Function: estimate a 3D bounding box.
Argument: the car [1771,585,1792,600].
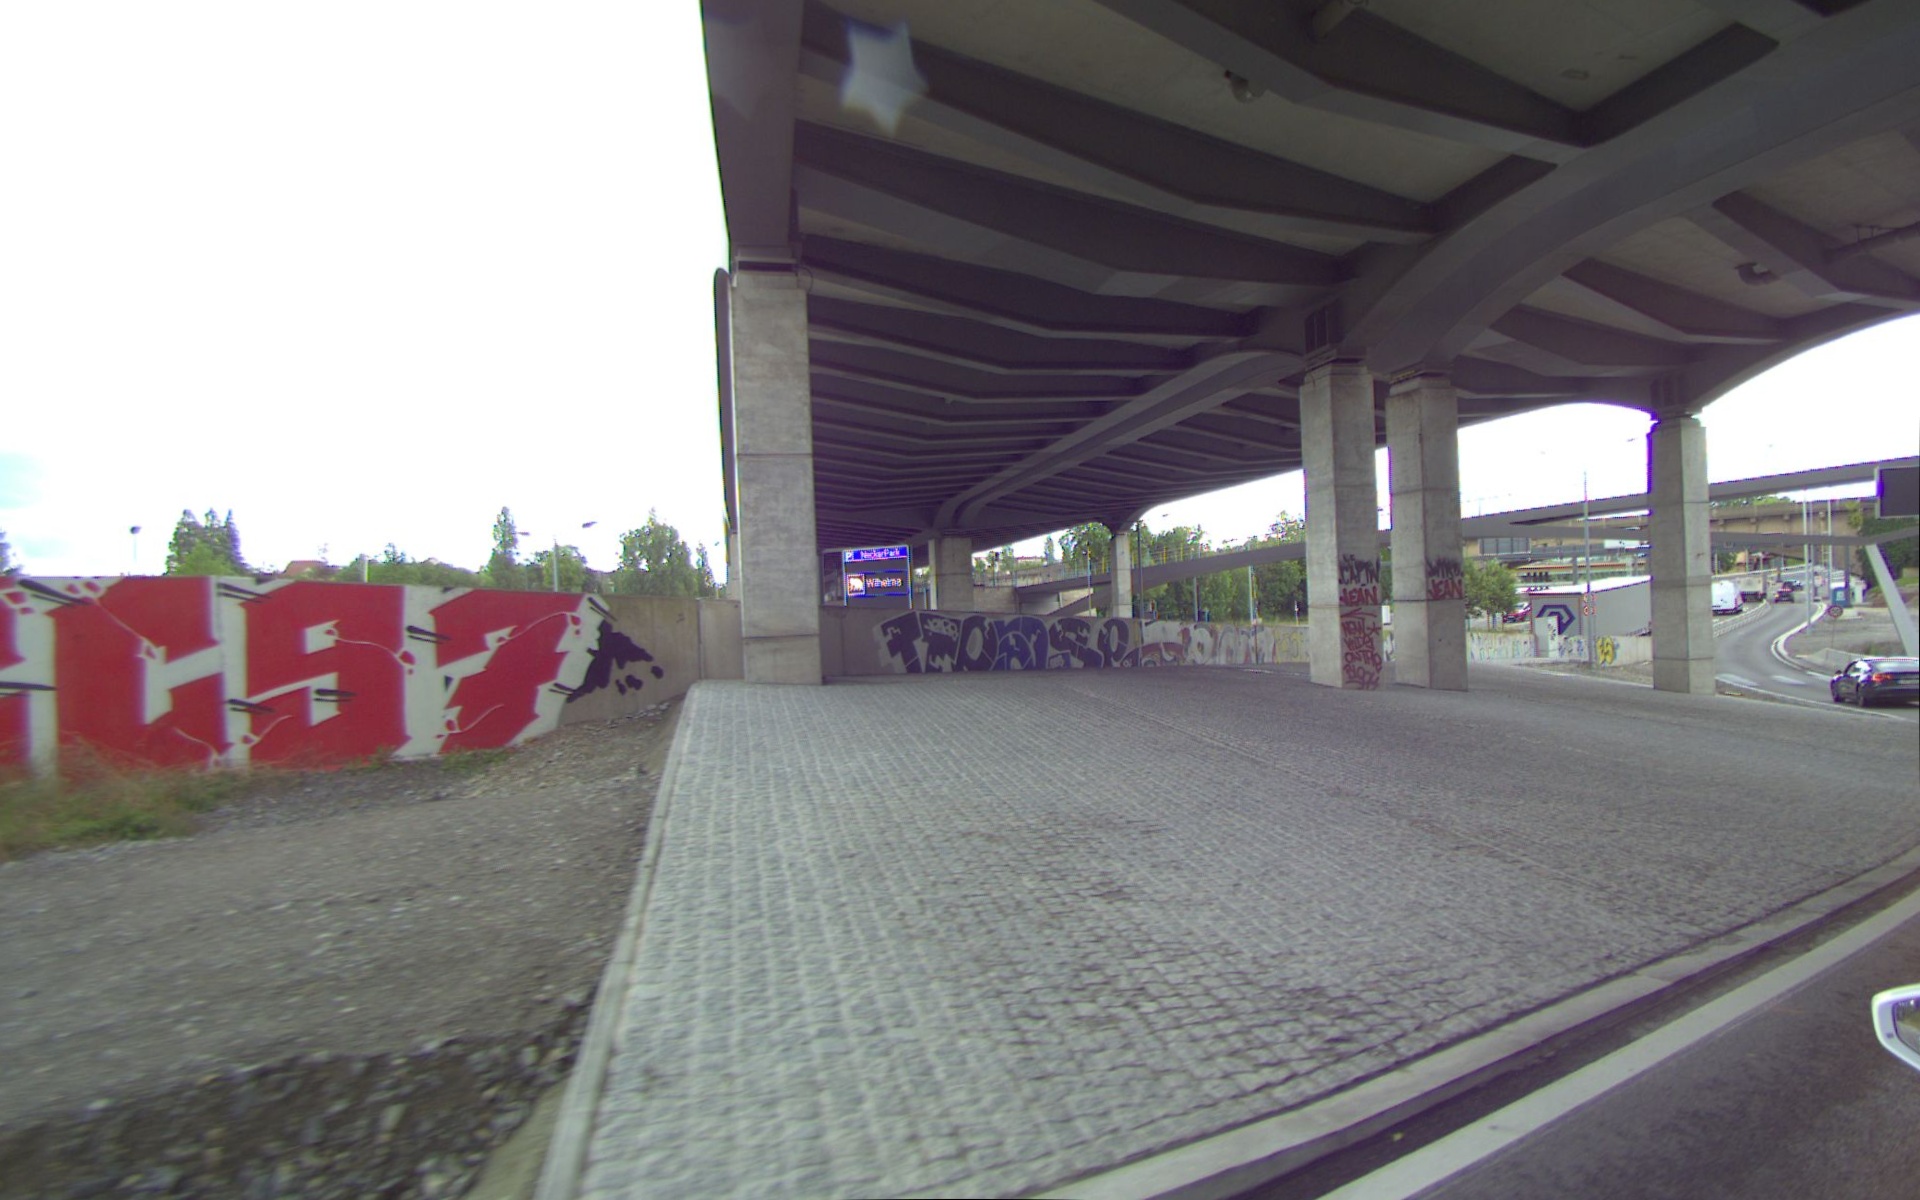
[{"bbox_3d":[92.397,-0.814,112.987,1.606,1.606,3.978,-1,-1,42],"label":"car"}]

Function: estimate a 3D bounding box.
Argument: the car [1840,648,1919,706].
[{"bbox_3d":[27.606,2.279,29.961,1.481,1.488,3.389,-5,-4,33],"label":"car"}]

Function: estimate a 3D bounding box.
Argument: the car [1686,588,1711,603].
[{"bbox_3d":[77.462,-0.412,105.290,3.974,1.529,1.515,0,-1,-45],"label":"car"}]

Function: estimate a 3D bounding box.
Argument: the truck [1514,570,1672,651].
[{"bbox_3d":[37.013,0.384,58.196,16.462,3.861,3.287,-3,2,-42],"label":"truck"}]

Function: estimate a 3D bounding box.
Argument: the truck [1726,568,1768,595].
[{"bbox_3d":[97.667,-2.265,124.604,3.358,3.191,7.213,2,1,43],"label":"truck"}]

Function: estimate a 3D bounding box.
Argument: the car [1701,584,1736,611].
[{"bbox_3d":[63.875,-0.203,84.575,1.878,2.144,4.458,-1,0,44],"label":"car"}]

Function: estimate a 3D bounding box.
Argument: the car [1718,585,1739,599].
[{"bbox_3d":[90.549,-0.908,118.304,1.606,1.606,3.978,-1,-1,42],"label":"car"}]

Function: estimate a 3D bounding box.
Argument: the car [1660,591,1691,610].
[{"bbox_3d":[63.410,0.012,88.994,1.629,1.642,3.974,-1,0,45],"label":"car"}]
